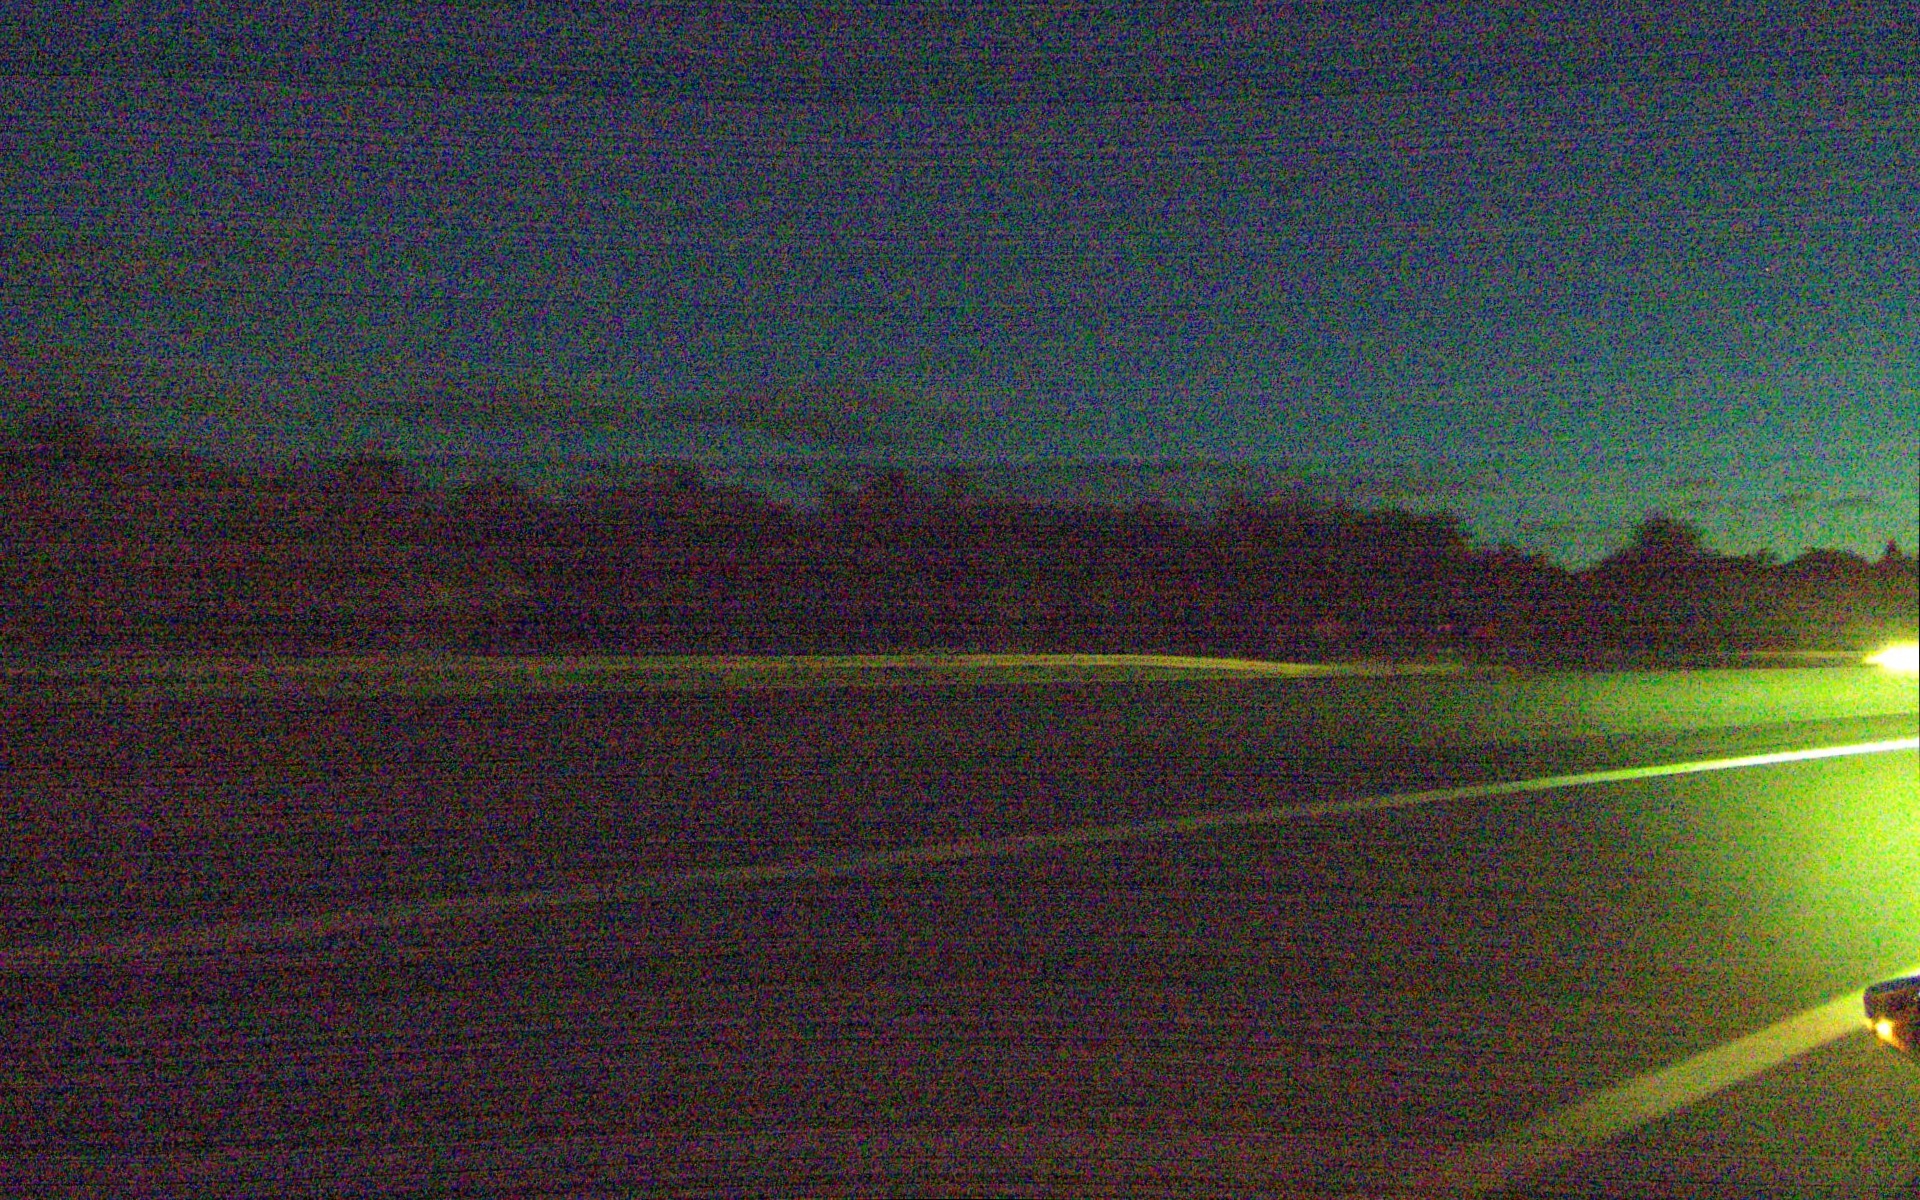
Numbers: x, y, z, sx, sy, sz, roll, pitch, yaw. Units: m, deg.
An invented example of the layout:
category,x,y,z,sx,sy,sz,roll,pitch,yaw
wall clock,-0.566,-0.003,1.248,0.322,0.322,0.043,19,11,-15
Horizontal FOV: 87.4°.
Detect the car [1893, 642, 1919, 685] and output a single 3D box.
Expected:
category,x,y,z,sx,sy,sz,roll,pitch,yaw
car,38.613,2.470,39.172,4.895,1.625,1.923,2,-2,-30
